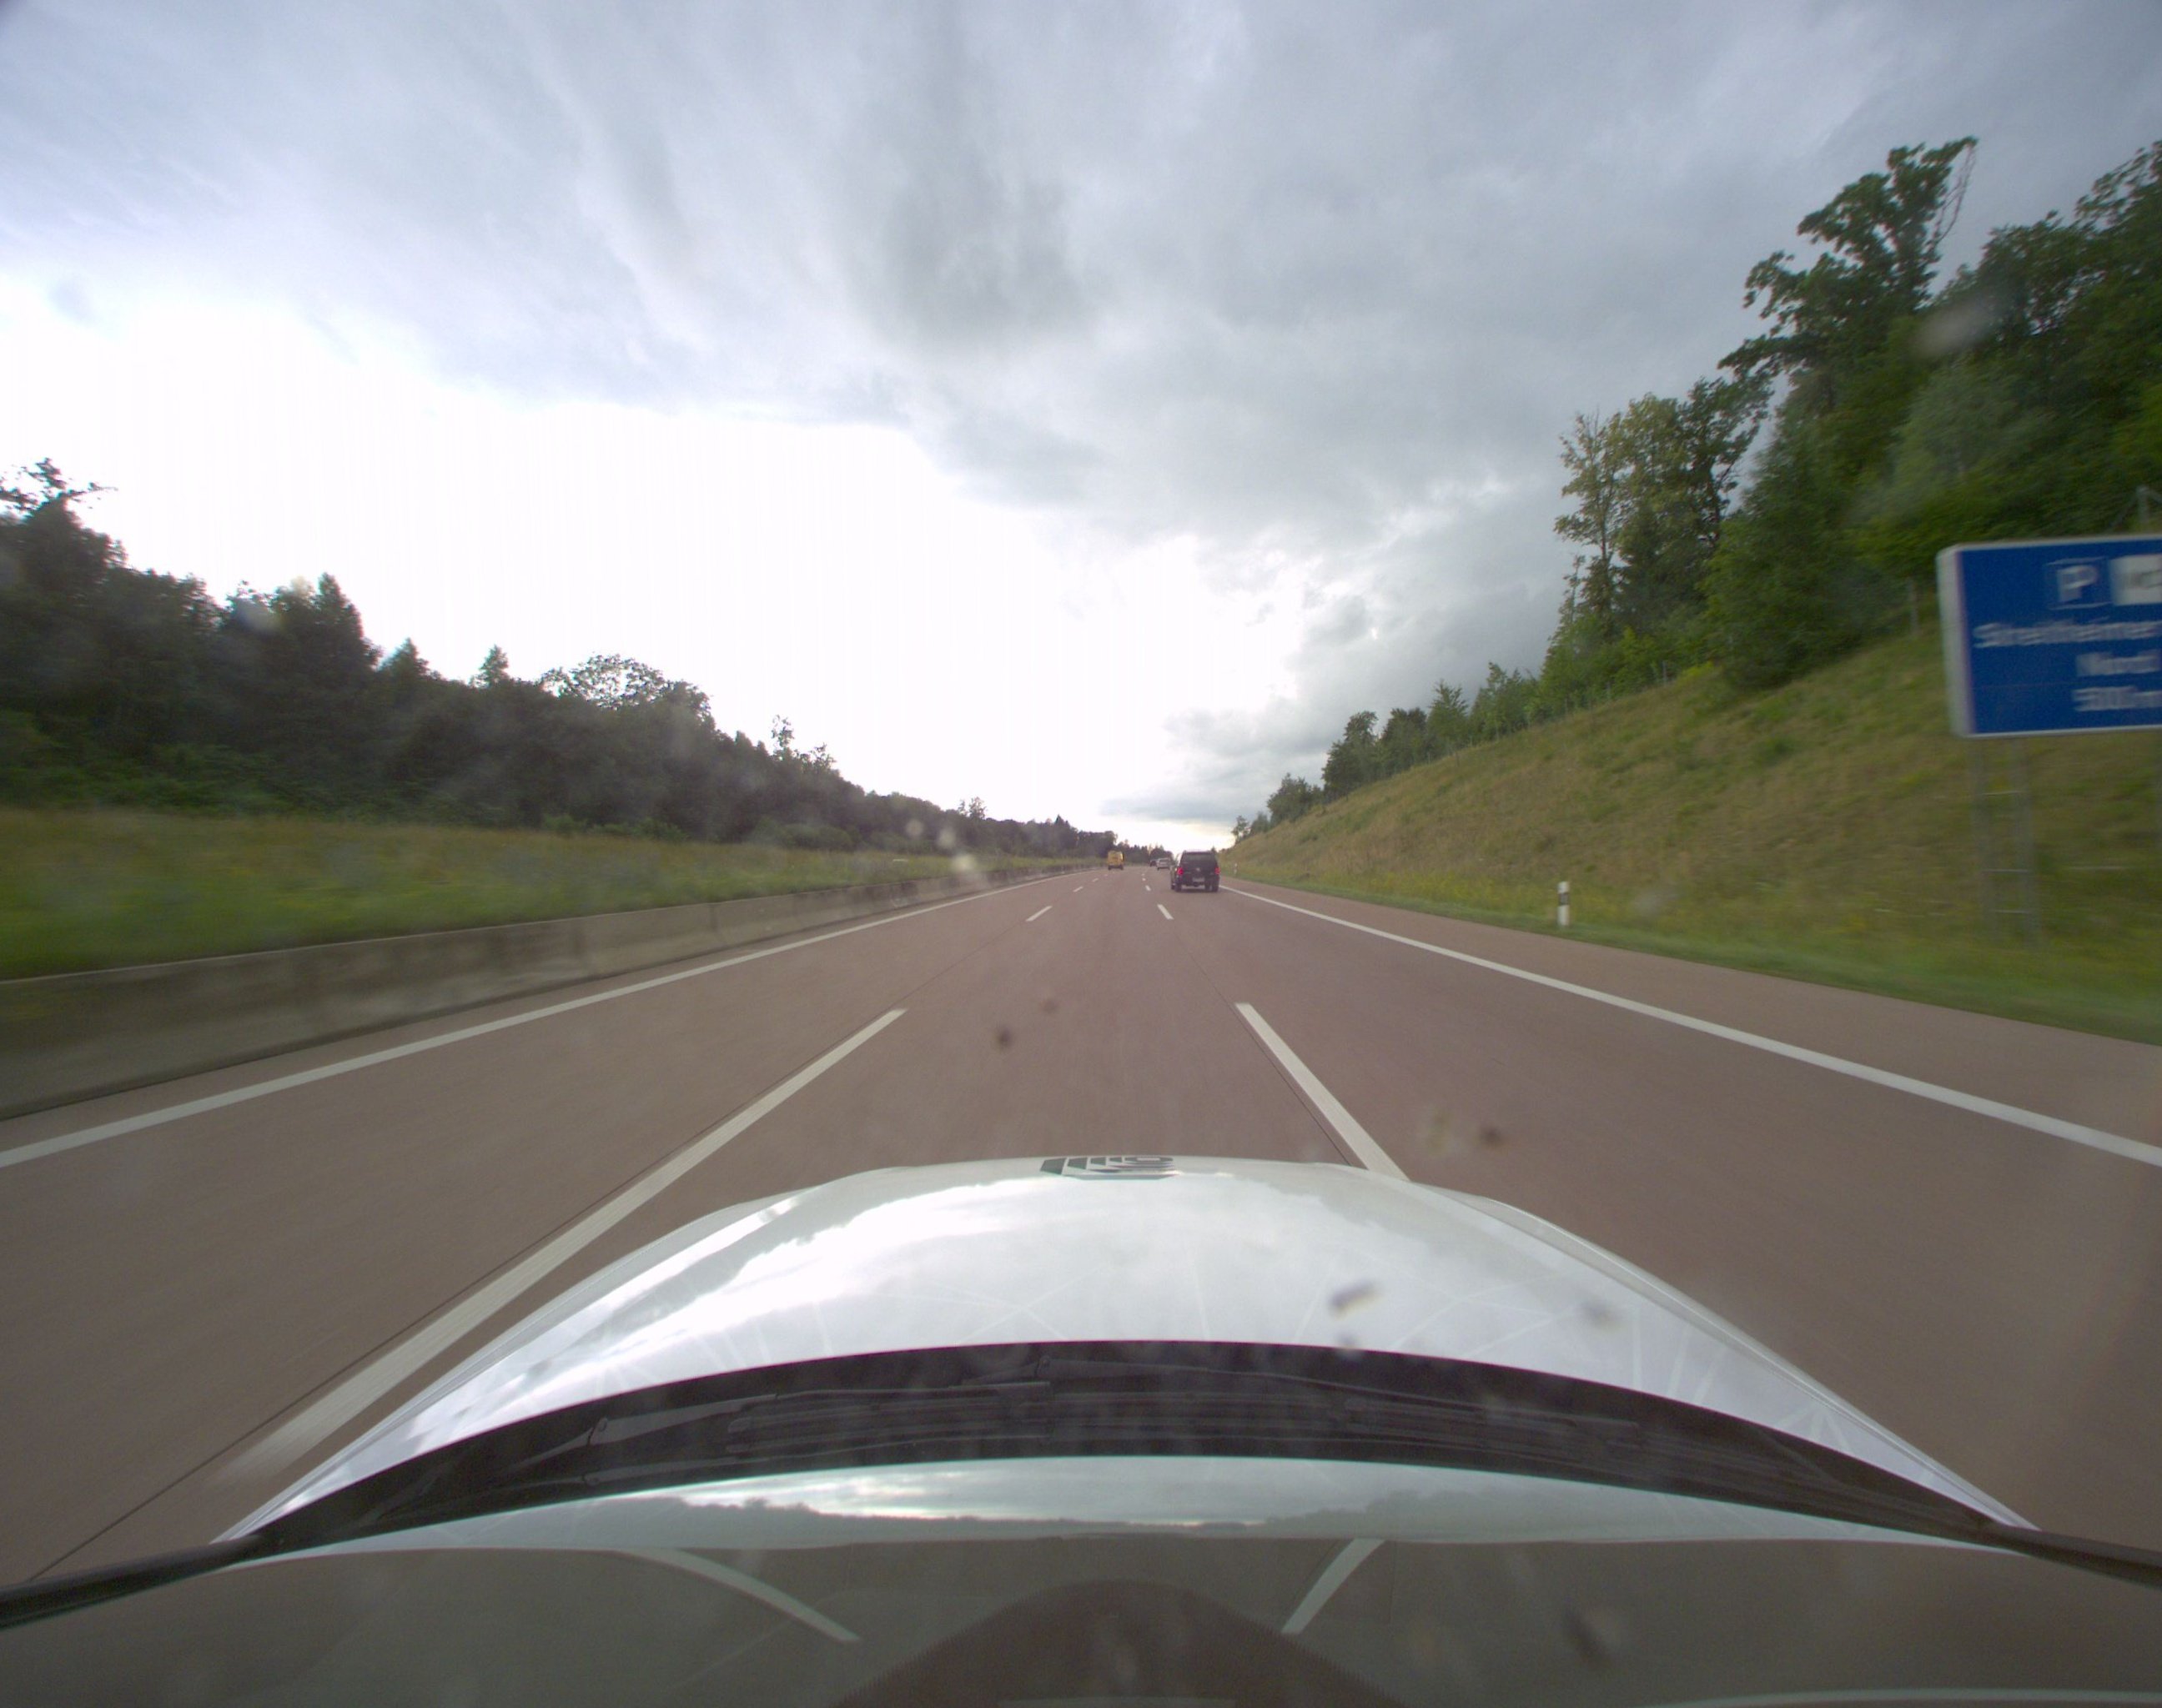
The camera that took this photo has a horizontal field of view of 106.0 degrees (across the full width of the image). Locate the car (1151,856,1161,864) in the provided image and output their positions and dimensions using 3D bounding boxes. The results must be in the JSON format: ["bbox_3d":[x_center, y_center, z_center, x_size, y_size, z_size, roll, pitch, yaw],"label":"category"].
[{"bbox_3d":[16.593,1.324,179.482,1.876,1.764,4.793,-2,-1,9],"label":"car"}]

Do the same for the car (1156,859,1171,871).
[{"bbox_3d":[11.379,1.490,112.407,1.968,1.648,4.625,0,-1,5],"label":"car"}]

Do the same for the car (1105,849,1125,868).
[{"bbox_3d":[5.004,0.681,118.631,2.446,2.706,5.623,-2,-1,7],"label":"car"}]

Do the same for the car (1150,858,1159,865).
[{"bbox_3d":[18.281,1.939,202.438,1.875,1.764,5.012,-2,-1,11],"label":"car"}]

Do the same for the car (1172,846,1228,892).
[{"bbox_3d":[5.358,0.706,37.293,2.035,1.897,5.582,-2,-1,4],"label":"car"}]
